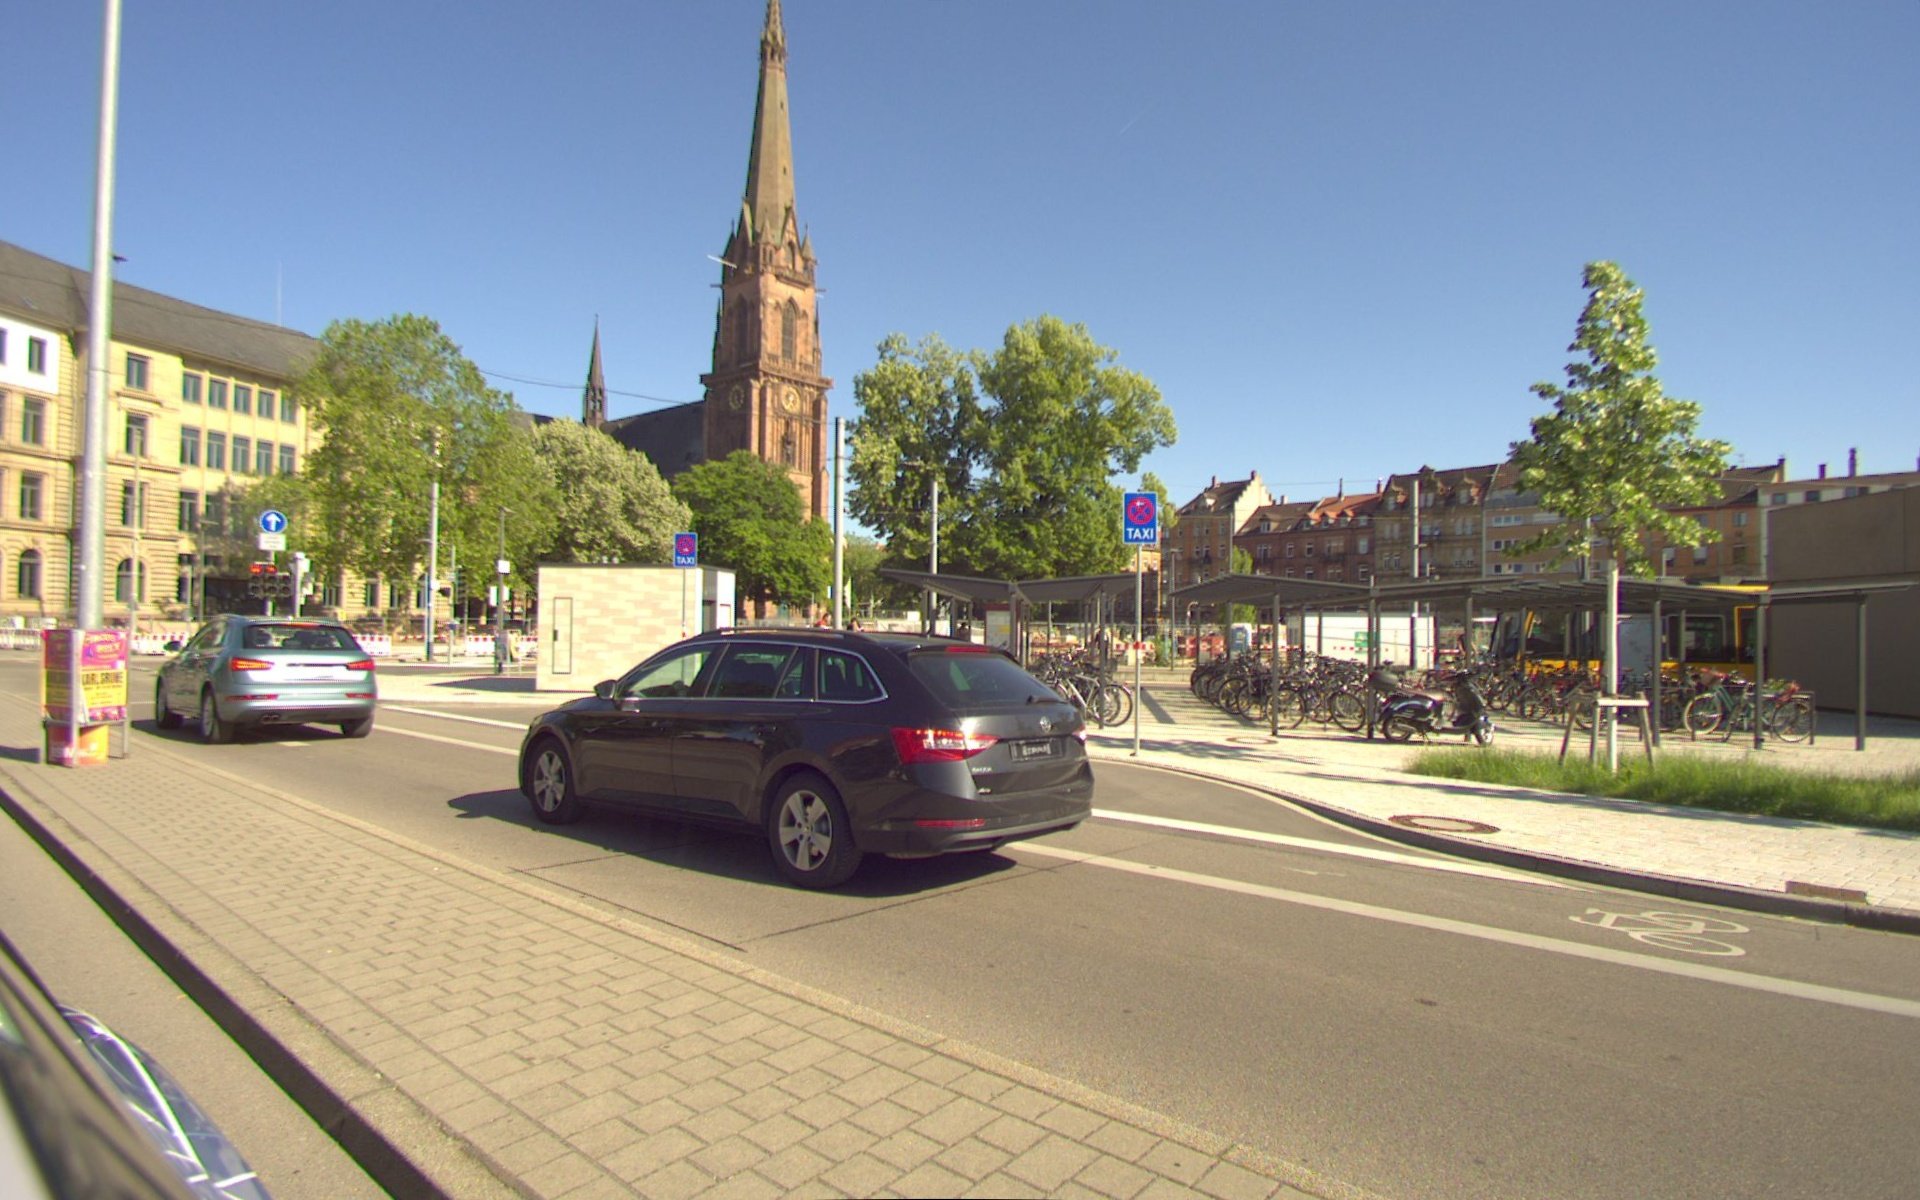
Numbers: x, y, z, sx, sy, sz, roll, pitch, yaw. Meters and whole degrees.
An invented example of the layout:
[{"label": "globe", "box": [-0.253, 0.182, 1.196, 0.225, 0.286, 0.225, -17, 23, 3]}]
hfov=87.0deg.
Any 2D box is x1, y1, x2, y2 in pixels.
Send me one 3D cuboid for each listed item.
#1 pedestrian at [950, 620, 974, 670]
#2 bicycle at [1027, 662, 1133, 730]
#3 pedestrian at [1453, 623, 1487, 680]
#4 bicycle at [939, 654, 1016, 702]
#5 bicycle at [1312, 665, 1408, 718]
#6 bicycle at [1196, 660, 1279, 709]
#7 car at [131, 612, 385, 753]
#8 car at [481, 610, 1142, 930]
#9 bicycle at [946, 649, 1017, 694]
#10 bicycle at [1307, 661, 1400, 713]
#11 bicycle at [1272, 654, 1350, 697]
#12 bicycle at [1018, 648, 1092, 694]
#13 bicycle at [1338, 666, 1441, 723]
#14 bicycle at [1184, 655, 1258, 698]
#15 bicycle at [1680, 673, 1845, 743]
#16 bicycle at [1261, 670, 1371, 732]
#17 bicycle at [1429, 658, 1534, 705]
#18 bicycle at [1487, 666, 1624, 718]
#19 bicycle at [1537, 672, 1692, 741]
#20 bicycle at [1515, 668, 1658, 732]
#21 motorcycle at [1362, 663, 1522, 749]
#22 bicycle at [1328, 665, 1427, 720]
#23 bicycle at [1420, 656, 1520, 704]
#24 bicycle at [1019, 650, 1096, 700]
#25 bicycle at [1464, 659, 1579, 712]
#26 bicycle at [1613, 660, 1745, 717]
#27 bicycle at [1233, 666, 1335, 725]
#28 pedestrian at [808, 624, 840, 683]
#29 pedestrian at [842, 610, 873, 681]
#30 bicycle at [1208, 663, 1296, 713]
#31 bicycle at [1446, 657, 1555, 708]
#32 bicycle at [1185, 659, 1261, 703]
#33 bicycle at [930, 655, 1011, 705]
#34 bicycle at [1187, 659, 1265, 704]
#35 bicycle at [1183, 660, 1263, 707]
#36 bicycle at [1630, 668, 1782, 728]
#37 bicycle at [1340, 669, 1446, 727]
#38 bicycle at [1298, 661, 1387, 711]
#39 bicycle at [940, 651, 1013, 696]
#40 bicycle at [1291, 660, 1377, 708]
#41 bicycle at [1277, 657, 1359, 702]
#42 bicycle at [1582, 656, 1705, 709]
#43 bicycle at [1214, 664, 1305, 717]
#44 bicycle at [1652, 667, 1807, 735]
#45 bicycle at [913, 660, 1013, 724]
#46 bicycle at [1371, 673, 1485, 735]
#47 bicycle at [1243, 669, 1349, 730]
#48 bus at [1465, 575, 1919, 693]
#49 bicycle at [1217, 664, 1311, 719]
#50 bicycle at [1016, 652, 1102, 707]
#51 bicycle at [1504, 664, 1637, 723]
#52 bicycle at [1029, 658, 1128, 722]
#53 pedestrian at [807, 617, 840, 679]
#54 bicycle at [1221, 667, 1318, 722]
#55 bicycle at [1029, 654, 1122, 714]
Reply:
[{"label": "pedestrian", "box": [0.090, 1.731, 39.006, 0.610, 1.874, 0.703, 2, -2, -39]}, {"label": "bicycle", "box": [2.018, 1.606, 17.093, 1.753, 1.083, 0.406, 1, -3, 6]}, {"label": "pedestrian", "box": [17.783, 1.789, 35.310, 0.793, 1.931, 0.769, 0, -2, 4]}, {"label": "bicycle", "box": [0.380, 1.705, 22.285, 1.663, 1.006, 0.406, 0, 0, 8]}, {"label": "bicycle", "box": [7.712, 1.763, 19.529, 1.661, 0.980, 0.406, -1, 0, 3]}, {"label": "bicycle", "box": [5.921, 1.806, 21.640, 1.661, 0.980, 0.406, 1, -5, 3]}, {"label": "car", "box": [-9.493, 1.012, 13.556, 4.255, 1.594, 1.769, -1, -4, 41]}, {"label": "car", "box": [-1.290, 0.904, 7.058, 4.779, 1.516, 1.795, -1, -4, 40]}, {"label": "bicycle", "box": [0.513, 1.702, 24.188, 1.663, 1.006, 0.406, 0, 0, 8]}, {"label": "bicycle", "box": [7.853, 1.730, 20.229, 1.661, 0.980, 0.406, -1, 0, 3]}, {"label": "bicycle", "box": [8.287, 1.785, 23.915, 1.661, 0.980, 0.406, -1, 0, 3]}, {"label": "bicycle", "box": [2.310, 1.724, 24.678, 1.755, 1.083, 0.406, 1, 0, 6]}, {"label": "bicycle", "box": [7.819, 1.723, 18.460, 1.661, 0.980, 0.406, -1, 0, 3]}, {"label": "bicycle", "box": [6.252, 1.837, 24.312, 1.661, 0.980, 0.406, 1, -5, 3]}, {"label": "bicycle", "box": [12.763, 1.715, 16.138, 2.048, 1.045, 0.533, -1, 0, 8]}, {"label": "bicycle", "box": [5.929, 1.685, 16.890, 1.661, 0.980, 0.406, -1, 0, 3]}, {"label": "bicycle", "box": [12.027, 1.880, 23.374, 2.048, 1.045, 0.533, -1, -4, 8]}, {"label": "bicycle", "box": [11.610, 1.798, 19.791, 2.208, 0.951, 0.685, -1, 0, 7]}, {"label": "bicycle", "box": [10.568, 1.711, 16.390, 2.048, 1.045, 0.533, -1, 0, 8]}, {"label": "bicycle", "box": [10.895, 1.739, 17.650, 2.048, 1.045, 0.533, -1, 0, 8]}, {"label": "motorcycle", "box": [7.189, 1.571, 15.160, 2.059, 1.228, 0.569, -1, -2, 3]}, {"label": "bicycle", "box": [7.838, 1.731, 19.013, 1.661, 0.980, 0.406, -1, 0, 3]}, {"label": "bicycle", "box": [12.296, 1.919, 24.429, 2.048, 1.045, 0.533, 1, 3, 8]}, {"label": "bicycle", "box": [2.268, 1.732, 23.499, 1.755, 1.083, 0.406, 1, 0, 6]}, {"label": "bicycle", "box": [11.772, 1.795, 21.265, 2.048, 1.045, 0.533, -1, 2, 8]}, {"label": "bicycle", "box": [13.848, 1.700, 19.526, 2.048, 1.045, 0.533, -1, 0, 8]}, {"label": "bicycle", "box": [5.811, 1.710, 18.189, 1.661, 0.980, 0.406, 1, 0, 3]}, {"label": "pedestrian", "box": [-3.789, 1.485, 28.248, 0.696, 1.635, 0.617, 0, -2, 14]}, {"label": "pedestrian", "box": [-2.747, 1.223, 27.195, 0.614, 1.874, 0.699, 0, -2, 14]}, {"label": "bicycle", "box": [5.921, 1.785, 20.564, 1.661, 0.980, 0.406, 1, -5, 3]}, {"label": "bicycle", "box": [11.862, 1.802, 22.256, 2.048, 1.045, 0.533, -1, 2, 8]}, {"label": "bicycle", "box": [6.133, 1.882, 23.624, 1.661, 0.980, 0.406, 1, -5, 3]}, {"label": "bicycle", "box": [0.225, 1.676, 21.404, 1.663, 1.006, 0.406, 0, 0, 8]}, {"label": "bicycle", "box": [6.049, 1.860, 23.051, 1.661, 0.980, 0.406, 1, -5, 3]}, {"label": "bicycle", "box": [5.782, 1.838, 22.297, 1.661, 0.980, 0.406, 1, -5, 3]}, {"label": "bicycle", "box": [13.475, 1.764, 18.330, 2.117, 1.005, 0.690, -1, 0, 7]}, {"label": "bicycle", "box": [7.639, 1.725, 17.892, 1.661, 0.980, 0.406, -1, 0, 3]}, {"label": "bicycle", "box": [7.857, 1.761, 20.826, 1.661, 0.980, 0.406, -1, 0, 3]}, {"label": "bicycle", "box": [0.389, 1.702, 23.662, 1.663, 1.006, 0.406, 0, 0, 8]}, {"label": "bicycle", "box": [7.984, 1.790, 21.623, 1.661, 0.980, 0.406, -1, 0, 3]}, {"label": "bicycle", "box": [8.069, 1.788, 22.839, 1.661, 0.980, 0.406, -1, 0, 3]}, {"label": "bicycle", "box": [14.074, 1.697, 20.878, 2.048, 1.045, 0.533, -1, 0, 8]}, {"label": "bicycle", "box": [5.897, 1.781, 19.959, 1.661, 0.980, 0.406, 1, 0, 3]}, {"label": "bicycle", "box": [12.985, 1.697, 17.116, 2.030, 1.087, 0.604, -1, 0, 7]}, {"label": "bicycle", "box": [0.063, 1.574, 17.383, 1.663, 1.006, 0.406, 2, 0, 8]}, {"label": "bicycle", "box": [7.764, 1.724, 16.822, 1.661, 0.980, 0.406, -1, 0, 3]}, {"label": "bicycle", "box": [5.789, 1.710, 17.463, 1.661, 0.980, 0.406, 1, 0, 3]}, {"label": "bus", "box": [21.957, 0.933, 28.646, 13.462, 3.095, 2.859, 0, -2, 6]}, {"label": "bicycle", "box": [5.810, 1.738, 19.376, 1.661, 0.980, 0.406, 1, 0, 3]}, {"label": "bicycle", "box": [2.048, 1.643, 20.973, 1.755, 1.083, 0.406, 1, 0, 6]}, {"label": "bicycle", "box": [11.318, 1.733, 18.813, 2.048, 1.045, 0.533, -1, 0, 8]}, {"label": "bicycle", "box": [2.135, 1.617, 18.337, 1.753, 1.083, 0.406, 1, 0, 6]}, {"label": "pedestrian", "box": [-3.935, 1.378, 29.149, 0.823, 1.740, 0.620, 0, -2, 4]}, {"label": "bicycle", "box": [5.724, 1.750, 18.768, 1.661, 0.980, 0.406, -1, 0, 3]}, {"label": "bicycle", "box": [2.231, 1.621, 19.583, 1.755, 1.083, 0.406, 1, 0, 6]}]
